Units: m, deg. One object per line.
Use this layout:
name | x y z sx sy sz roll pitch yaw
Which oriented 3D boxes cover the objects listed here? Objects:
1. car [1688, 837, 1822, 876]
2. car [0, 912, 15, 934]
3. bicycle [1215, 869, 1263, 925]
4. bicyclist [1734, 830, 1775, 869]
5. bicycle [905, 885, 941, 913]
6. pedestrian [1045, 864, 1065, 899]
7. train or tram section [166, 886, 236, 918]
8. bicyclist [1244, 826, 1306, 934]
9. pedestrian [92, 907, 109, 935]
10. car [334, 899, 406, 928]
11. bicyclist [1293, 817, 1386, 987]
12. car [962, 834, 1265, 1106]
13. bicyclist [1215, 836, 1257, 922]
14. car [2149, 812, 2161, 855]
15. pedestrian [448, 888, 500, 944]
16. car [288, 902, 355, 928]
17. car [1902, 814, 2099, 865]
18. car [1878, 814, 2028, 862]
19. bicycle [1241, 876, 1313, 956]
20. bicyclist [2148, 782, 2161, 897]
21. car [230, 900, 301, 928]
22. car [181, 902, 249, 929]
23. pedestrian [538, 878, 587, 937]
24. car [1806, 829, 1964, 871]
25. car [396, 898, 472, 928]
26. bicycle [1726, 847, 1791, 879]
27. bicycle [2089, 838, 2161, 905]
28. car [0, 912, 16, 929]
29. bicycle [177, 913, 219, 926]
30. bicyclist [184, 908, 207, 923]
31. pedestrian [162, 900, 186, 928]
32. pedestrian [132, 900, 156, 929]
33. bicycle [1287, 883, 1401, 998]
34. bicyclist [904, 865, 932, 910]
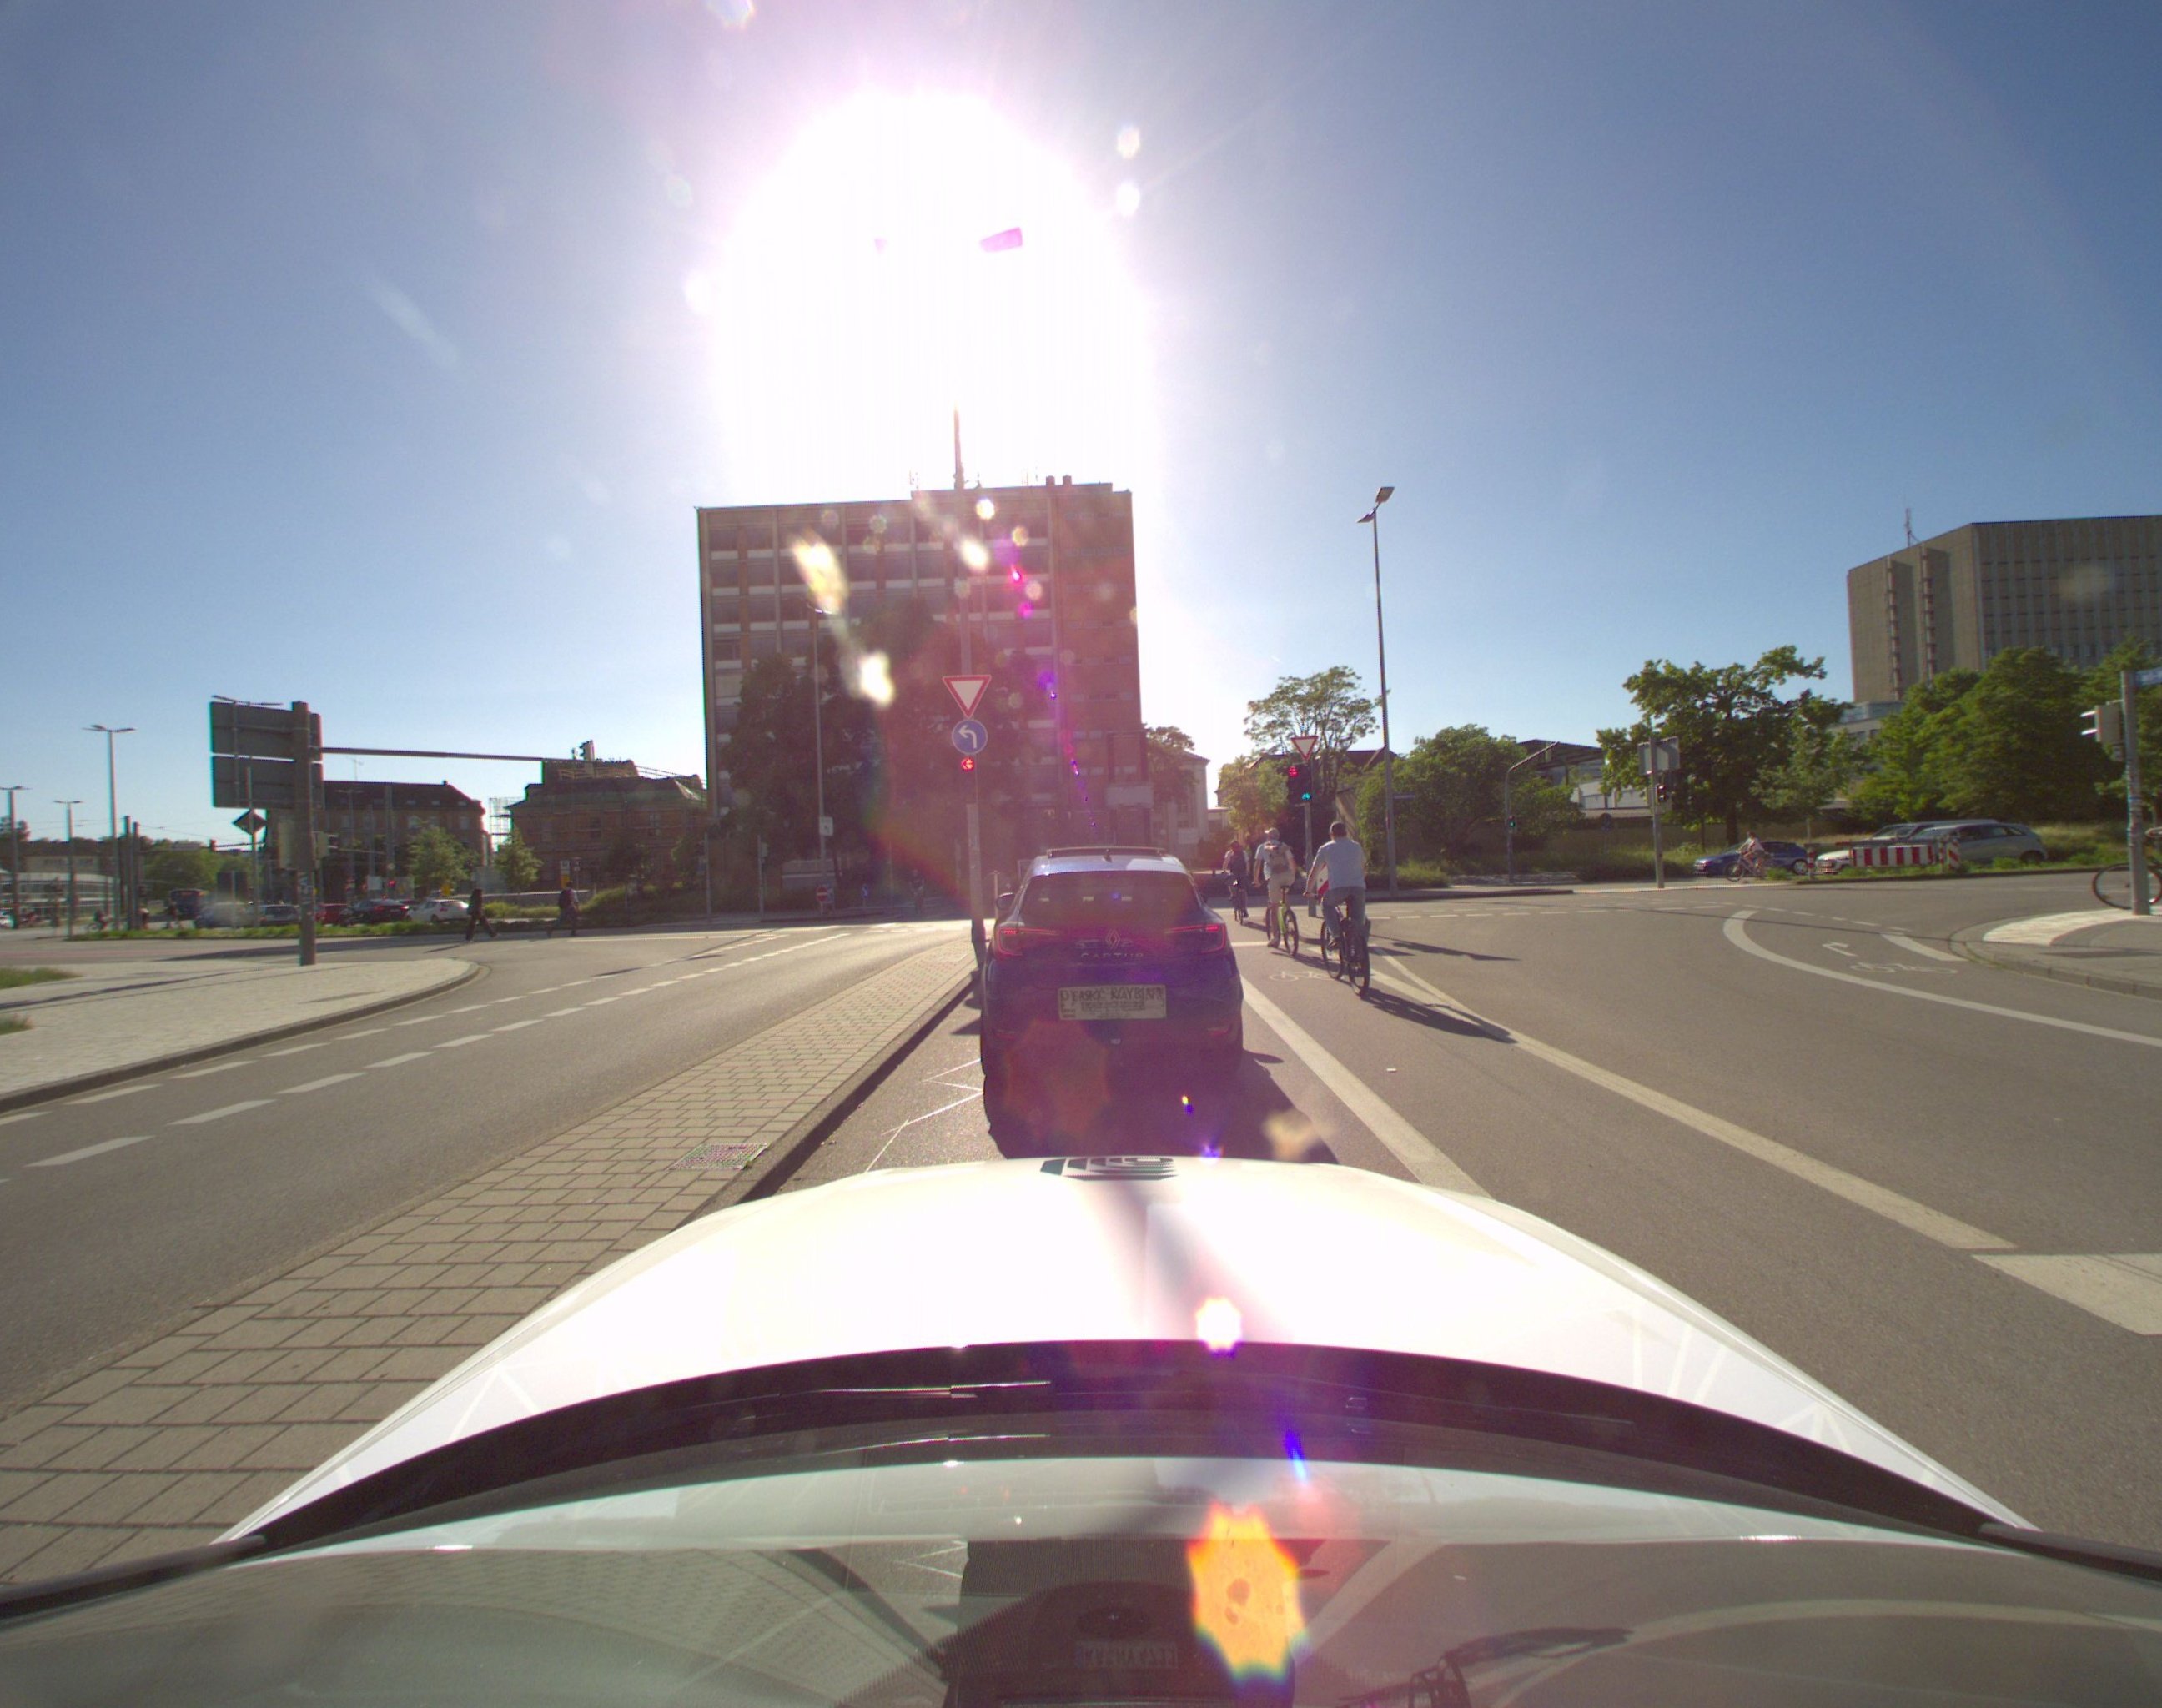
car | 28.132 0.105 34.106 3.965 1.398 1.798 -2 -1 7
car | -91.659 5.845 66.922 2.065 1.846 4.522 -2 0 4
bicycle | 3.371 0.894 17.539 0.687 1.089 1.923 -1 0 2
bicyclist | 24.020 -0.160 29.052 0.870 1.343 0.612 -2 -1 7
bicycle | -6.404 1.821 33.053 0.751 0.985 2.098 -2 0 8
pedestrian | -1.425 1.489 44.861 0.807 1.862 0.913 -3 -1 15
train or tram section | -101.102 5.437 93.767 2.710 3.232 10.495 0 -1 -31
bicyclist | 3.003 0.394 12.703 0.676 1.594 1.142 -1 -1 1
pedestrian | -70.739 4.824 58.748 0.543 2.014 0.501 -2 -1 1
car | -42.554 3.558 48.740 3.834 1.508 1.805 -3 -1 25
bicyclist | 2.893 0.513 9.223 0.680 1.791 1.142 -1 -1 2
car | 0.195 0.704 6.835 1.783 1.585 3.913 -1 0 0
bicyclist | 3.359 0.520 17.694 0.697 1.791 1.142 -1 -1 2
car | 36.898 -0.763 25.331 4.534 1.398 1.798 -2 -1 7
pedestrian | -17.746 1.801 23.841 0.647 1.527 0.984 -3 -1 15
car | -48.210 3.864 51.709 3.834 1.508 1.805 -3 -1 25
car | 29.218 -0.434 26.001 3.965 1.398 1.798 -2 -1 7
car | 35.868 -0.619 33.607 3.965 1.749 1.798 -2 -1 7
bicycle | 3.001 0.914 12.645 0.687 1.089 1.923 -1 0 2
bicyclist | 15.953 -0.223 11.559 0.635 1.646 0.903 -2 -1 -39
car | -48.867 3.598 48.804 3.834 1.508 1.805 -3 -1 25
car | -54.916 3.886 51.637 3.834 1.508 1.805 -3 -1 25
pedestrian | -15.924 1.618 25.031 0.647 1.730 1.066 -3 -1 15
car | 30.293 -0.137 30.793 3.965 1.398 1.798 -2 -1 7
car | -36.398 3.331 45.835 3.834 1.508 1.805 -3 -1 25
bicycle | 24.137 0.321 29.035 1.673 1.033 0.612 -2 -1 7
bicycle | 15.911 0.237 11.626 0.640 0.958 1.866 -2 -1 -39
car | -111.920 6.903 83.977 1.753 1.651 3.952 -2 -1 -42
bicycle | -74.787 5.575 68.994 0.887 0.883 2.250 -3 0 13
bicyclist | -74.849 5.185 68.850 0.887 1.166 0.971 -3 -1 13
pedestrian | -63.168 4.160 56.710 0.723 1.865 0.883 -3 -1 22
pedestrian | -62.677 4.029 54.462 0.722 1.865 0.884 -3 -1 27
bicycle | 2.899 0.903 9.184 0.687 1.089 1.923 -1 0 2
bicyclist | -6.504 1.314 32.522 0.751 1.716 1.001 -2 -1 7
